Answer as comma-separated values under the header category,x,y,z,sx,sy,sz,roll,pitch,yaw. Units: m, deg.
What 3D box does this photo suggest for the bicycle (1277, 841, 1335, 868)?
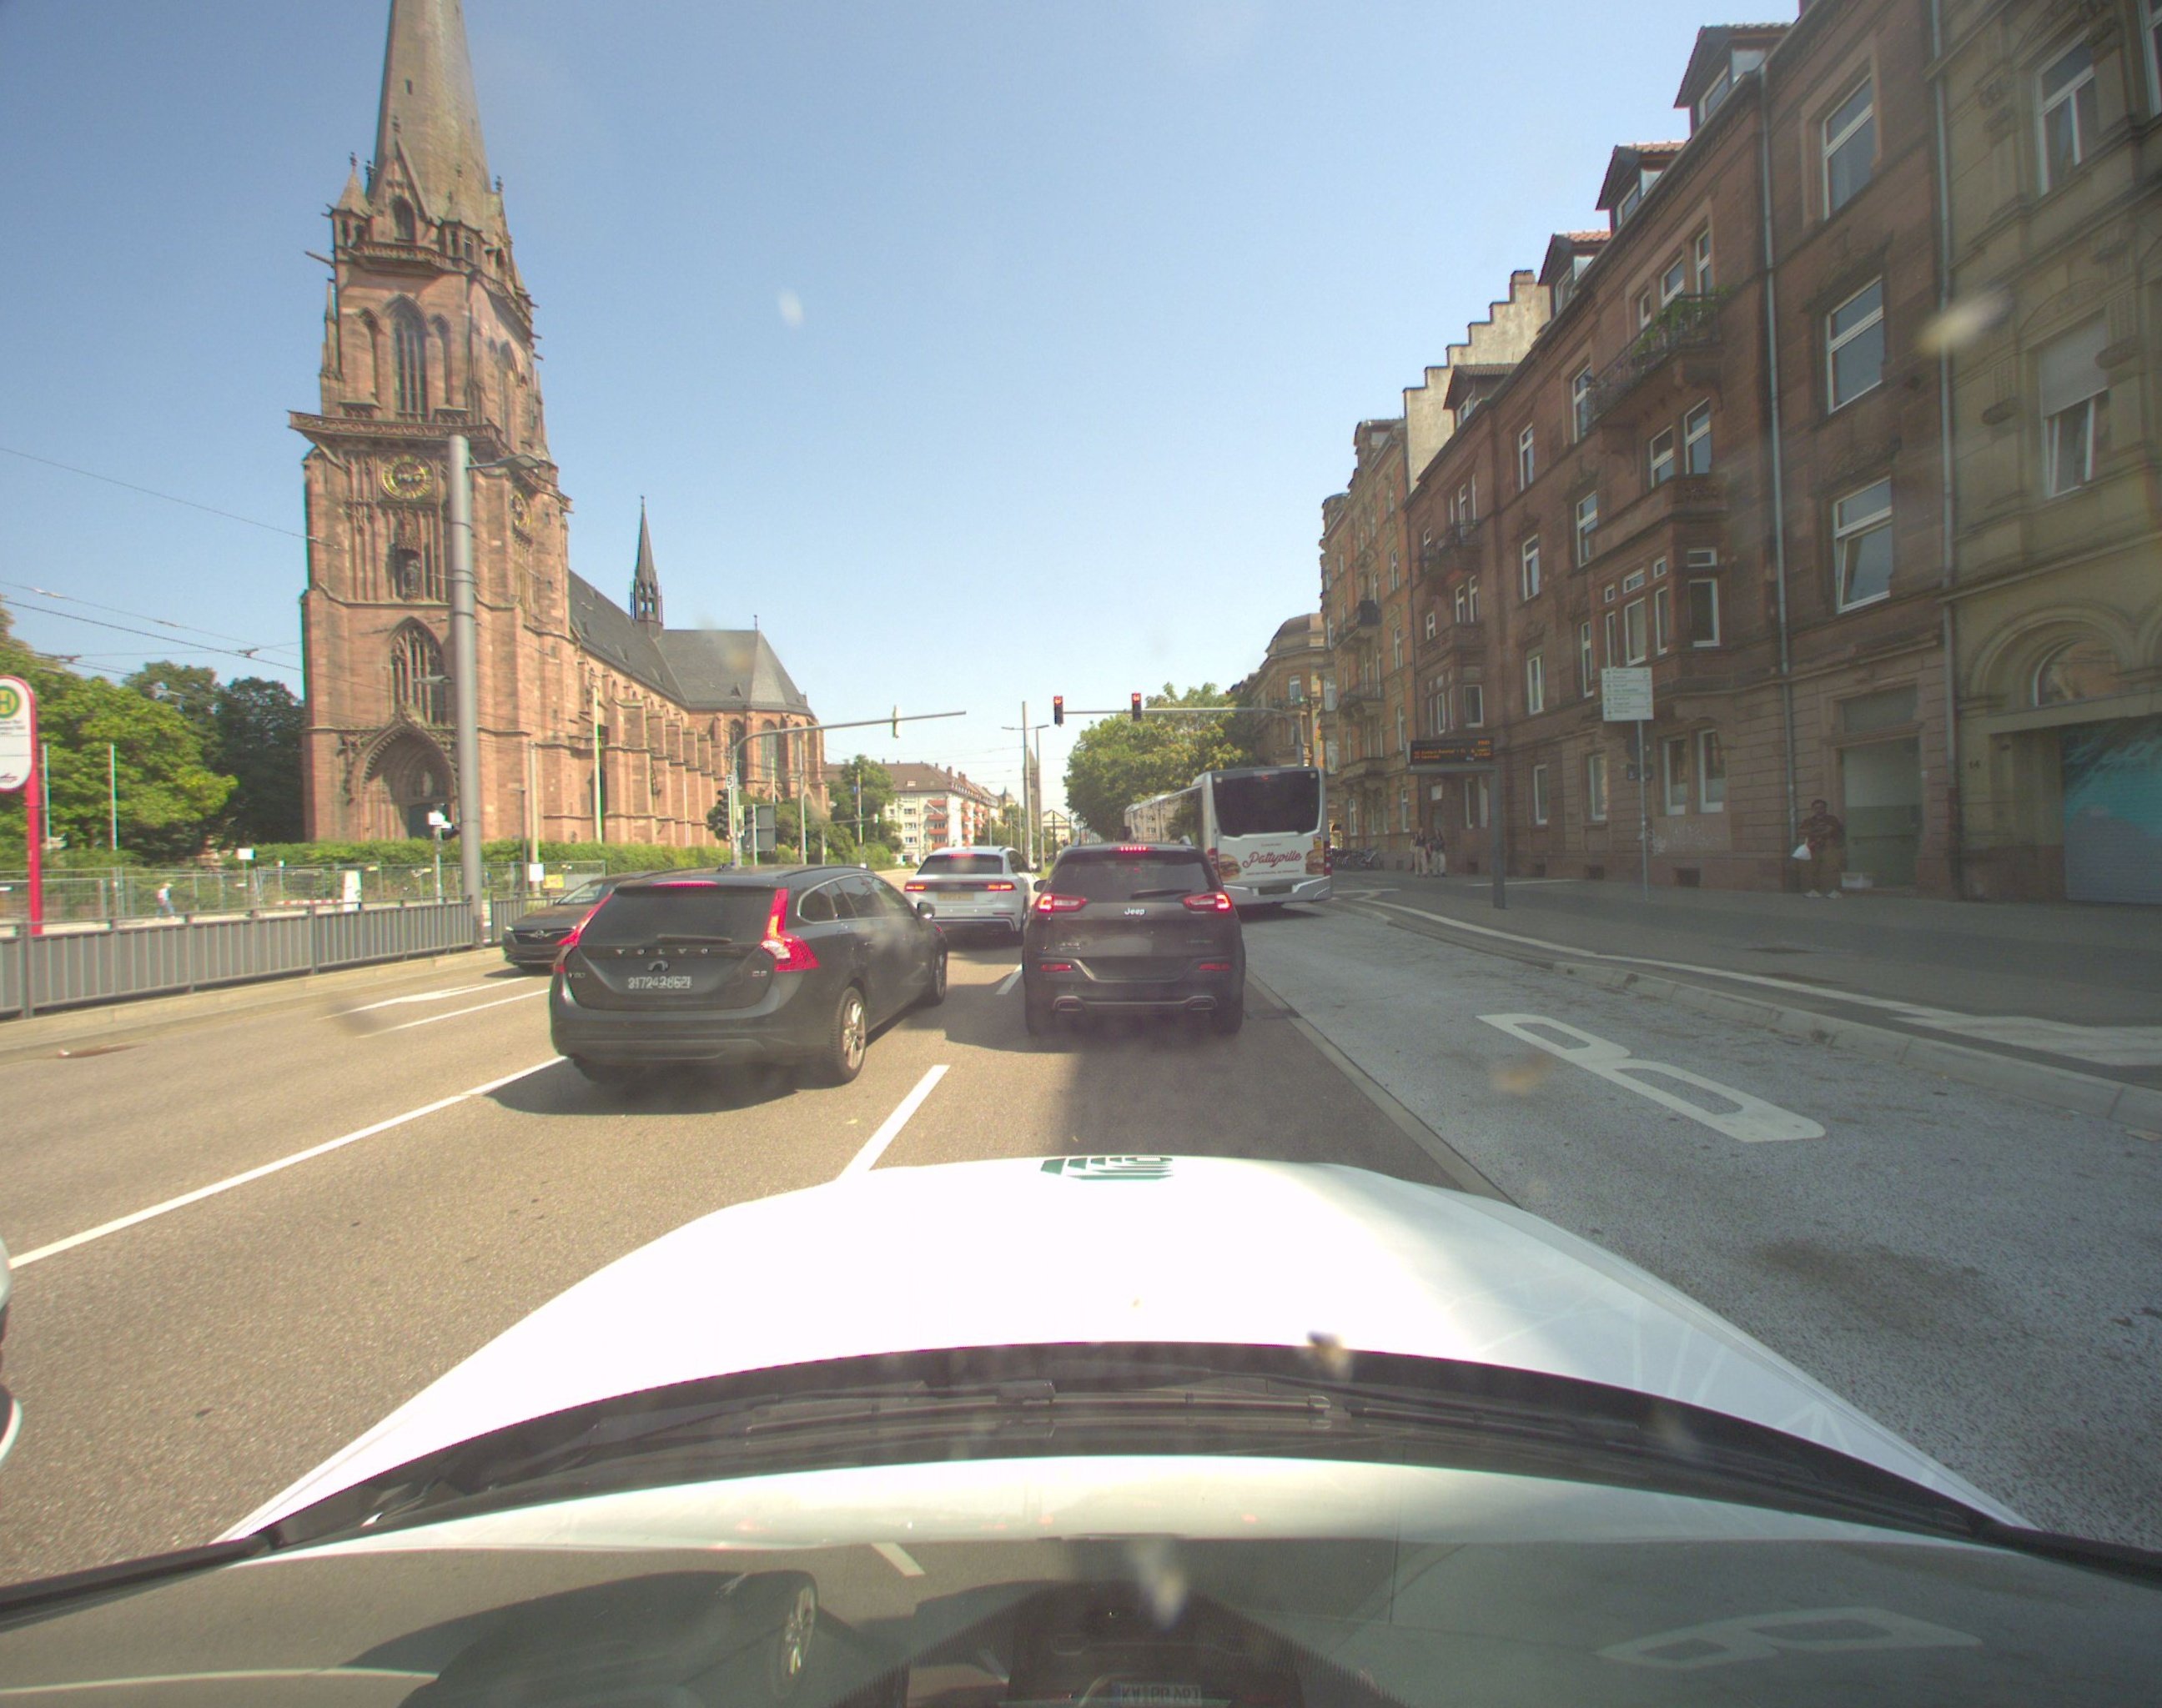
category,x,y,z,sx,sy,sz,roll,pitch,yaw
bicycle,12.719,0.032,46.038,2.993,1.373,0.948,-2,0,1

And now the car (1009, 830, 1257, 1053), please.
category,x,y,z,sx,sy,sz,roll,pitch,yaw
car,0.501,0.648,8.241,1.825,1.651,4.312,-1,0,3

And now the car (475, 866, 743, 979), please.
category,x,y,z,sx,sy,sz,roll,pitch,yaw
car,-7.744,1.016,14.007,1.739,1.435,4.575,-3,0,2

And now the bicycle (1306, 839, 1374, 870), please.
category,x,y,z,sx,sy,sz,roll,pitch,yaw
bicycle,12.591,0.033,39.681,2.983,1.371,0.871,-2,0,1

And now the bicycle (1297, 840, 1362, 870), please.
category,x,y,z,sx,sy,sz,roll,pitch,yaw
bicycle,12.677,0.033,41.572,2.993,1.373,0.948,-2,0,1

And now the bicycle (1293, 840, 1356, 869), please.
category,x,y,z,sx,sy,sz,roll,pitch,yaw
bicycle,12.725,0.032,42.666,2.993,1.373,0.948,-2,0,1

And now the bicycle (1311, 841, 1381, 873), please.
category,x,y,z,sx,sy,sz,roll,pitch,yaw
bicycle,12.605,0.153,38.767,2.983,1.371,0.871,-2,0,1

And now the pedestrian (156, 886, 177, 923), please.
category,x,y,z,sx,sy,sz,roll,pitch,yaw
pedestrian,-39.512,2.173,35.186,0.430,1.531,0.548,-3,0,36

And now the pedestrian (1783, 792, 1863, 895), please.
category,x,y,z,sx,sy,sz,roll,pitch,yaw
pedestrian,13.266,-0.190,14.572,0.872,1.778,0.737,-2,0,-26

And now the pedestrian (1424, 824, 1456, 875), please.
category,x,y,z,sx,sy,sz,roll,pitch,yaw
pedestrian,12.900,-0.170,29.292,0.712,1.778,0.870,-2,0,0

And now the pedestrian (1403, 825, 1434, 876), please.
category,x,y,z,sx,sy,sz,roll,pitch,yaw
pedestrian,12.177,-0.131,29.389,0.711,1.776,0.848,-2,0,1

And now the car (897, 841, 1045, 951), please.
category,x,y,z,sx,sy,sz,roll,pitch,yaw
car,-1.793,0.639,14.699,1.895,1.651,4.310,-1,0,2

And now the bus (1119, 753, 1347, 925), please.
category,x,y,z,sx,sy,sz,roll,pitch,yaw
bus,3.233,-0.237,21.660,2.739,3.107,11.935,-5,0,-5

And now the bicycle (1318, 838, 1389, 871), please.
category,x,y,z,sx,sy,sz,roll,pitch,yaw
bicycle,12.663,0.019,37.859,2.983,1.371,0.871,-2,0,1

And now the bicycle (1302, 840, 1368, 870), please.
category,x,y,z,sx,sy,sz,roll,pitch,yaw
bicycle,12.646,0.036,40.628,2.983,1.371,0.871,-2,0,1

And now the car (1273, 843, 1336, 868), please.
category,x,y,z,sx,sy,sz,roll,pitch,yaw
car,15.685,0.093,57.279,3.926,1.521,1.679,-2,0,-6

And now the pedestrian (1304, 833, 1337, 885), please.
category,x,y,z,sx,sy,sz,roll,pitch,yaw
pedestrian,8.257,0.173,28.141,0.893,1.741,0.770,-4,-1,8

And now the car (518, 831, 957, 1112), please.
category,x,y,z,sx,sy,sz,roll,pitch,yaw
car,-2.332,0.683,6.897,1.741,1.614,4.310,-1,0,2

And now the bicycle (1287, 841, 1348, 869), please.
category,x,y,z,sx,sy,sz,roll,pitch,yaw
bicycle,12.673,0.035,43.678,2.993,1.373,0.948,-2,0,1

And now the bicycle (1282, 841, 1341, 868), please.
category,x,y,z,sx,sy,sz,roll,pitch,yaw
bicycle,12.725,0.030,44.995,2.993,1.373,0.948,-2,0,1
